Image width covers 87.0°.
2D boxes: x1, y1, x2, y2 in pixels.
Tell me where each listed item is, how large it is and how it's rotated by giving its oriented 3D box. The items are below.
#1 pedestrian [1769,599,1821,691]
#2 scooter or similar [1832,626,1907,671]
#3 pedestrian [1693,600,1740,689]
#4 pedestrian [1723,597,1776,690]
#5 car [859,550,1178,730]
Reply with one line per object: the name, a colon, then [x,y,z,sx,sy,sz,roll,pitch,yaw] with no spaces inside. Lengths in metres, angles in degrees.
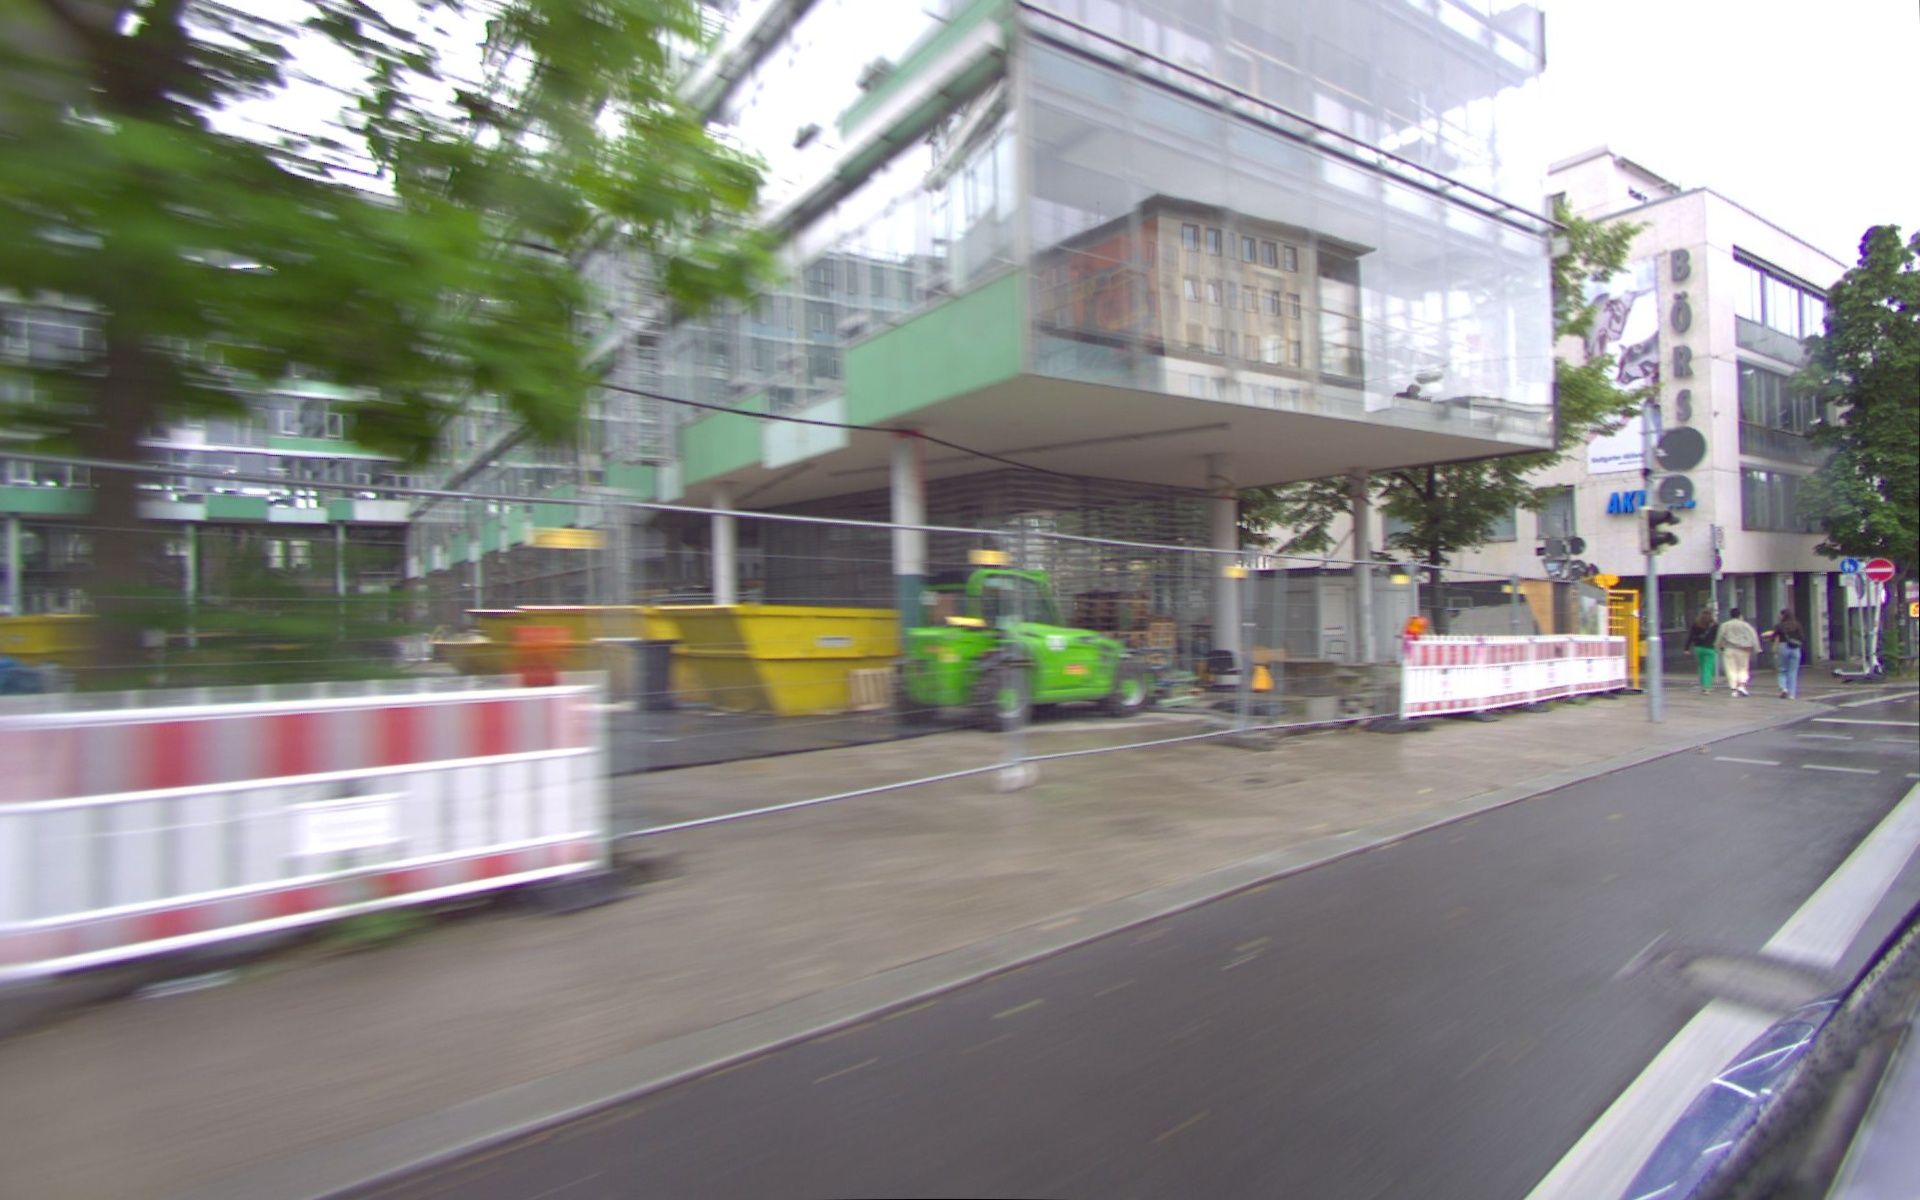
pedestrian: [16.713,0.882,20.249,0.718,1.784,0.943,-1,-2,43]
scooter or similar: [24.648,1.316,27.447,1.367,1.195,0.508,-1,-2,22]
pedestrian: [15.610,0.897,20.878,0.830,1.784,0.598,1,-2,-41]
pedestrian: [15.583,0.835,19.978,0.718,1.784,0.943,-1,-2,43]
car: [0.893,0.470,13.454,2.010,2.008,4.132,-1,-1,45]
